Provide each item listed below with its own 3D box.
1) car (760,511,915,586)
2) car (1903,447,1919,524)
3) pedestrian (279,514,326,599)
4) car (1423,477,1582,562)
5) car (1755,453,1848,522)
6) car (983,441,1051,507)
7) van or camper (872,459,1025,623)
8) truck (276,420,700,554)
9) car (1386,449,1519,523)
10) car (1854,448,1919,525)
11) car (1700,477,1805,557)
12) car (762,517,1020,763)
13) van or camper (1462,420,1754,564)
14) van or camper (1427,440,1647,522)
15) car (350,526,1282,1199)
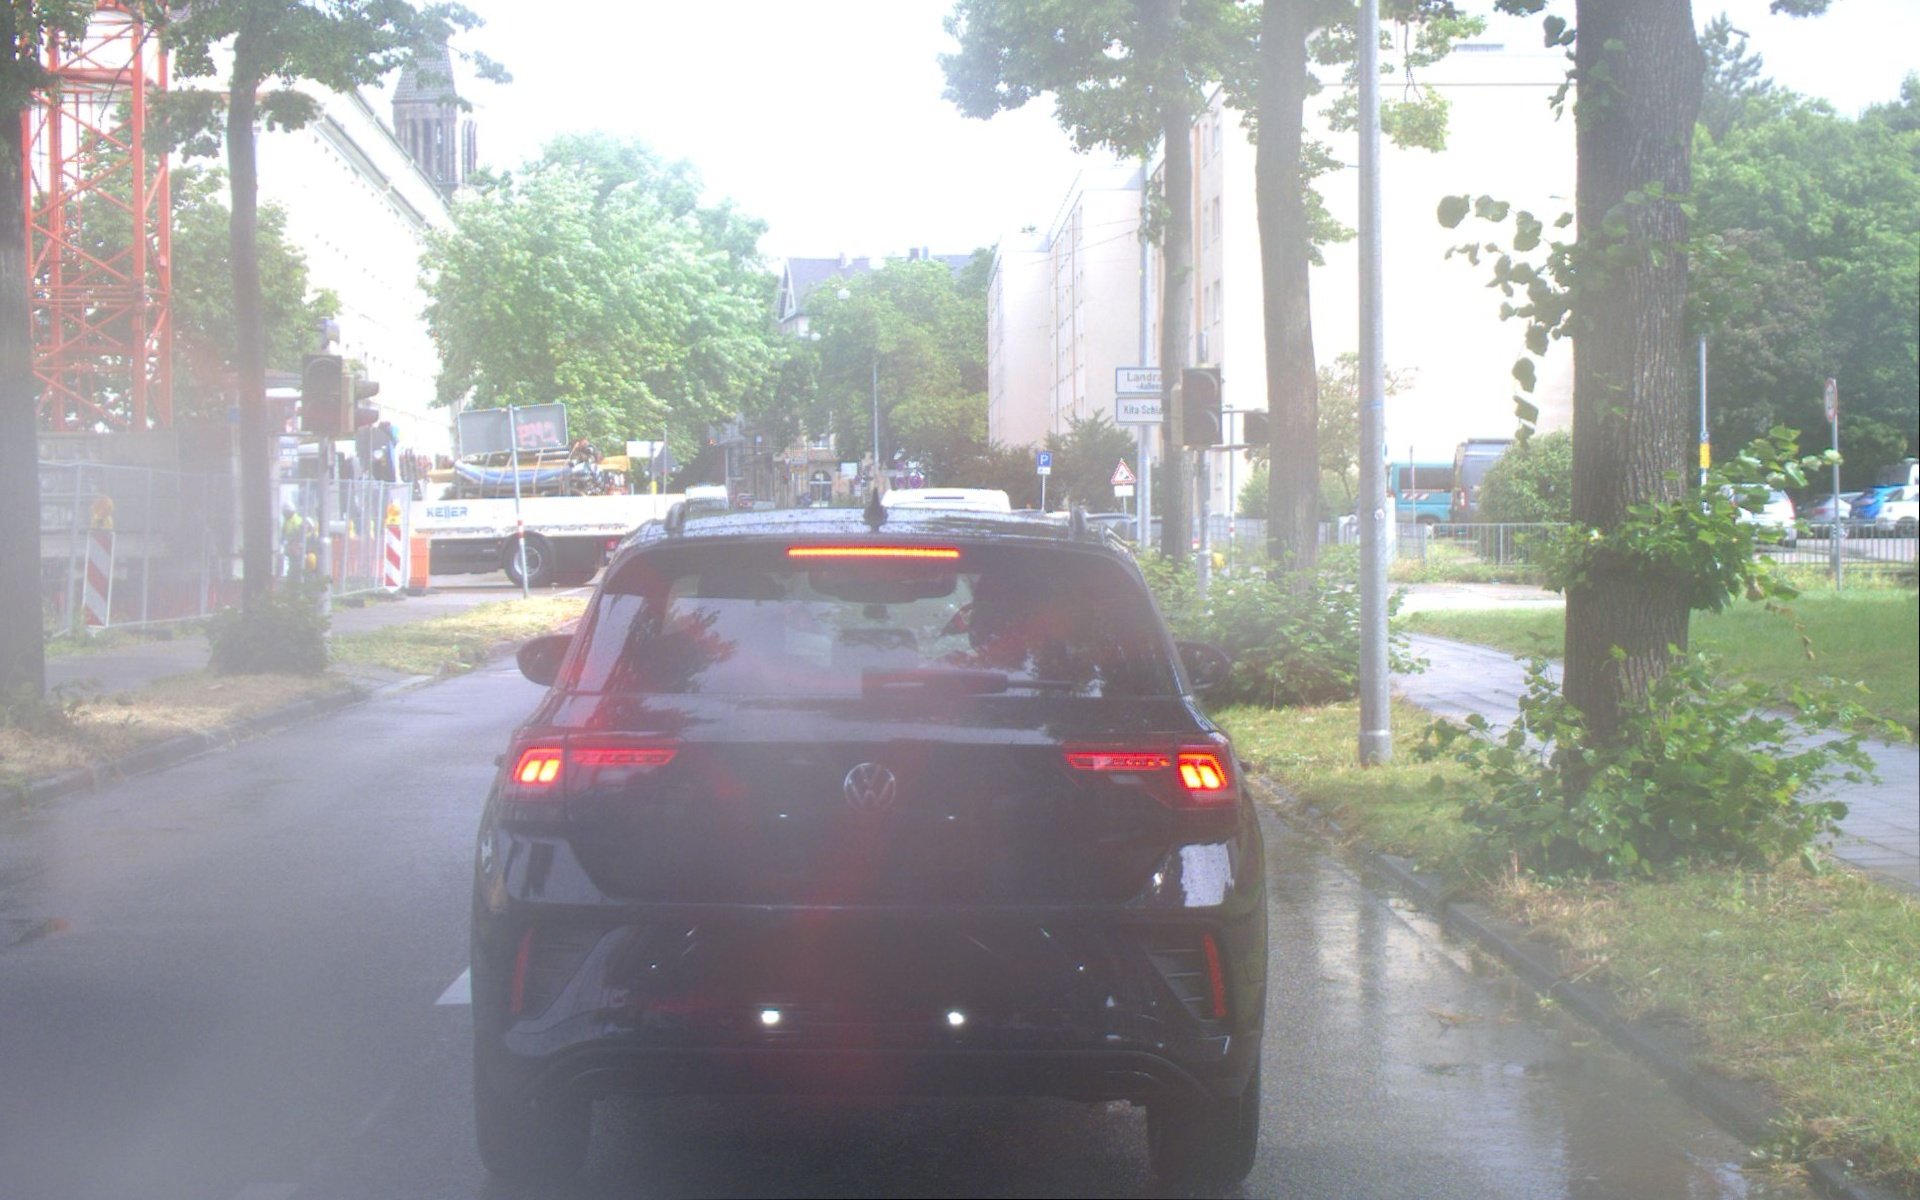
[{"bbox_3d":[-3.026,-1.300,85.525,1.757,1.645,3.928,-2,2,35],"label":"car"},{"bbox_3d":[25.734,-2.998,88.384,1.994,2.006,4.000,-3,1,4],"label":"car"},{"bbox_3d":[-11.539,-0.768,60.356,0.660,1.480,0.673,-1,3,-25],"label":"pedestrian"},{"bbox_3d":[12.126,-1.805,76.981,3.408,1.775,1.760,-1,2,6],"label":"car"},{"bbox_3d":[24.288,-3.255,99.353,1.867,1.850,3.810,-3,1,4],"label":"car"},{"bbox_3d":[1.809,-4.016,110.297,1.993,2.007,4.000,-2,1,-1],"label":"car"},{"bbox_3d":[-0.103,-0.775,43.284,1.819,1.941,4.195,1,2,1],"label":"van or camper"},{"bbox_3d":[-9.701,-2.351,70.748,8.220,2.647,2.812,1,2,16],"label":"truck"},{"bbox_3d":[13.198,-3.057,92.062,3.408,1.775,1.759,-3,1,9],"label":"car"},{"bbox_3d":[25.786,-3.100,93.511,1.994,2.006,4.000,-3,1,4],"label":"car"},{"bbox_3d":[17.921,-1.894,77.875,1.743,1.678,3.870,-3,1,6],"label":"car"},{"bbox_3d":[-0.466,0.252,26.786,1.680,1.702,3.909,-3,1,3],"label":"car"},{"bbox_3d":[12.156,-2.023,64.719,5.032,2.587,2.168,-1,1,-1],"label":"van or camper"},{"bbox_3d":[13.751,-2.856,82.175,4.874,1.919,2.131,0,2,0],"label":"van or camper"},{"bbox_3d":[-0.317,0.585,9.011,1.894,1.517,4.000,0,2,-1],"label":"car"}]
